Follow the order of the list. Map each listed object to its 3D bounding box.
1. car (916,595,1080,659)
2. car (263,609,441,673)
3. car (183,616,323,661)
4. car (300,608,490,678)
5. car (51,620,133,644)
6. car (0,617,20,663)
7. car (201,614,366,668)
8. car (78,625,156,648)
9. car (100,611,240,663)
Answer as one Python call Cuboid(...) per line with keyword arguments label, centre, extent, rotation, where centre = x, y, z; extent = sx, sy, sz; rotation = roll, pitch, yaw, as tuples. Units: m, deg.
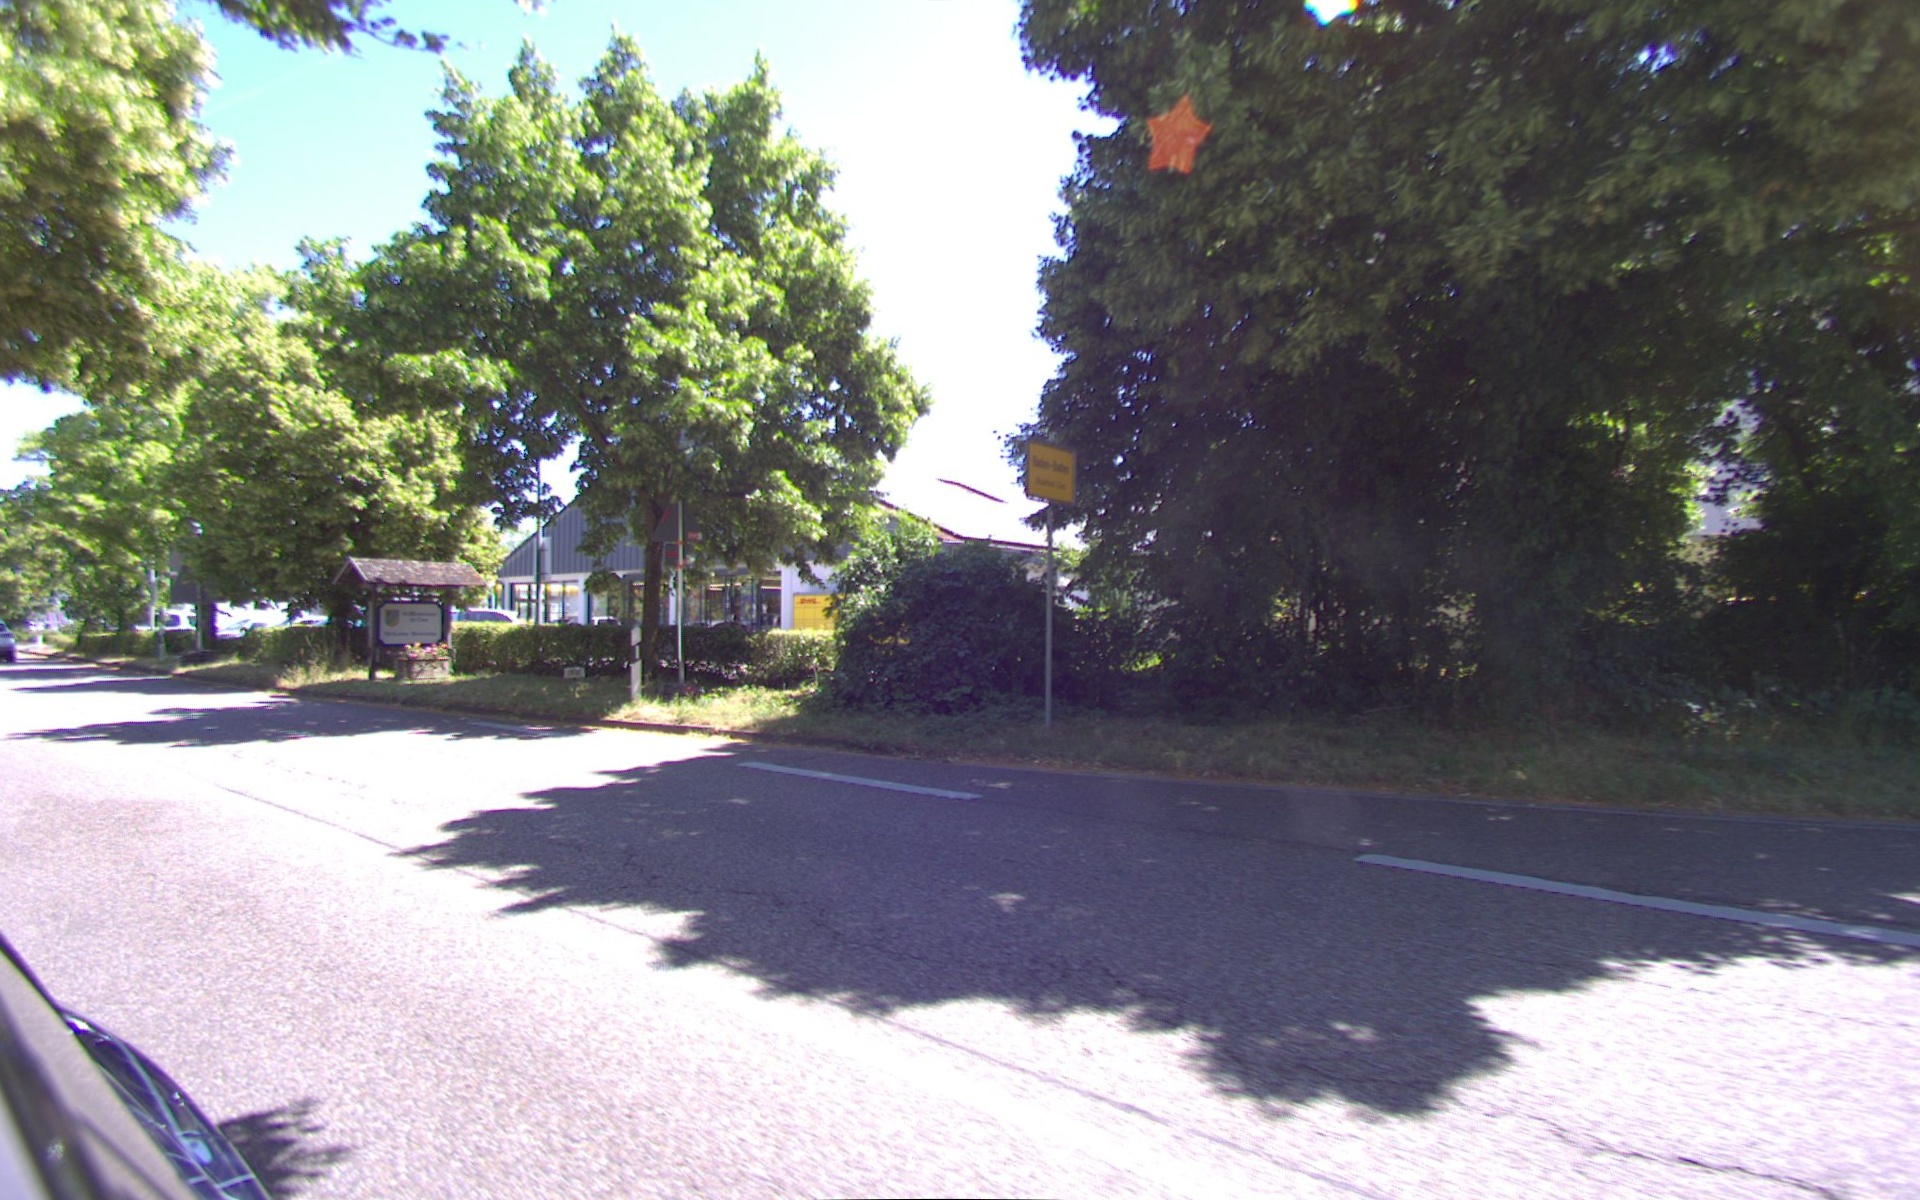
Cuboid(label="car", centre=(1.199, 0.705, 29.064), extent=(2.236, 1.582, 4.940), rotation=(-1, 1, 38))
Cuboid(label="car", centre=(-19.105, 1.216, 31.975), extent=(2.069, 1.789, 4.360), rotation=(-1, 0, 37))
Cuboid(label="car", centre=(-26.948, 1.418, 38.658), extent=(1.930, 1.536, 3.992), rotation=(-1, 0, 37))
Cuboid(label="car", centre=(-16.250, 1.169, 29.288), extent=(2.069, 1.789, 4.360), rotation=(-1, 0, 37))
Cuboid(label="car", centre=(-64.344, 2.330, 75.122), extent=(4.471, 1.676, 2.004), rotation=(0, -1, -37))
Cuboid(label="car", centre=(-35.697, 1.451, 36.522), extent=(4.471, 1.600, 2.073), rotation=(-1, 1, 40))
Cuboid(label="car", centre=(-23.117, 1.339, 34.727), extent=(1.892, 1.632, 4.360), rotation=(-1, 0, 37))
Cuboid(label="car", centre=(-58.351, 2.512, 70.116), extent=(4.131, 1.457, 1.983), rotation=(0, -1, -40))
Cuboid(label="car", centre=(-33.209, 1.491, 42.620), extent=(1.901, 1.995, 4.318), rotation=(0, 0, 36))
